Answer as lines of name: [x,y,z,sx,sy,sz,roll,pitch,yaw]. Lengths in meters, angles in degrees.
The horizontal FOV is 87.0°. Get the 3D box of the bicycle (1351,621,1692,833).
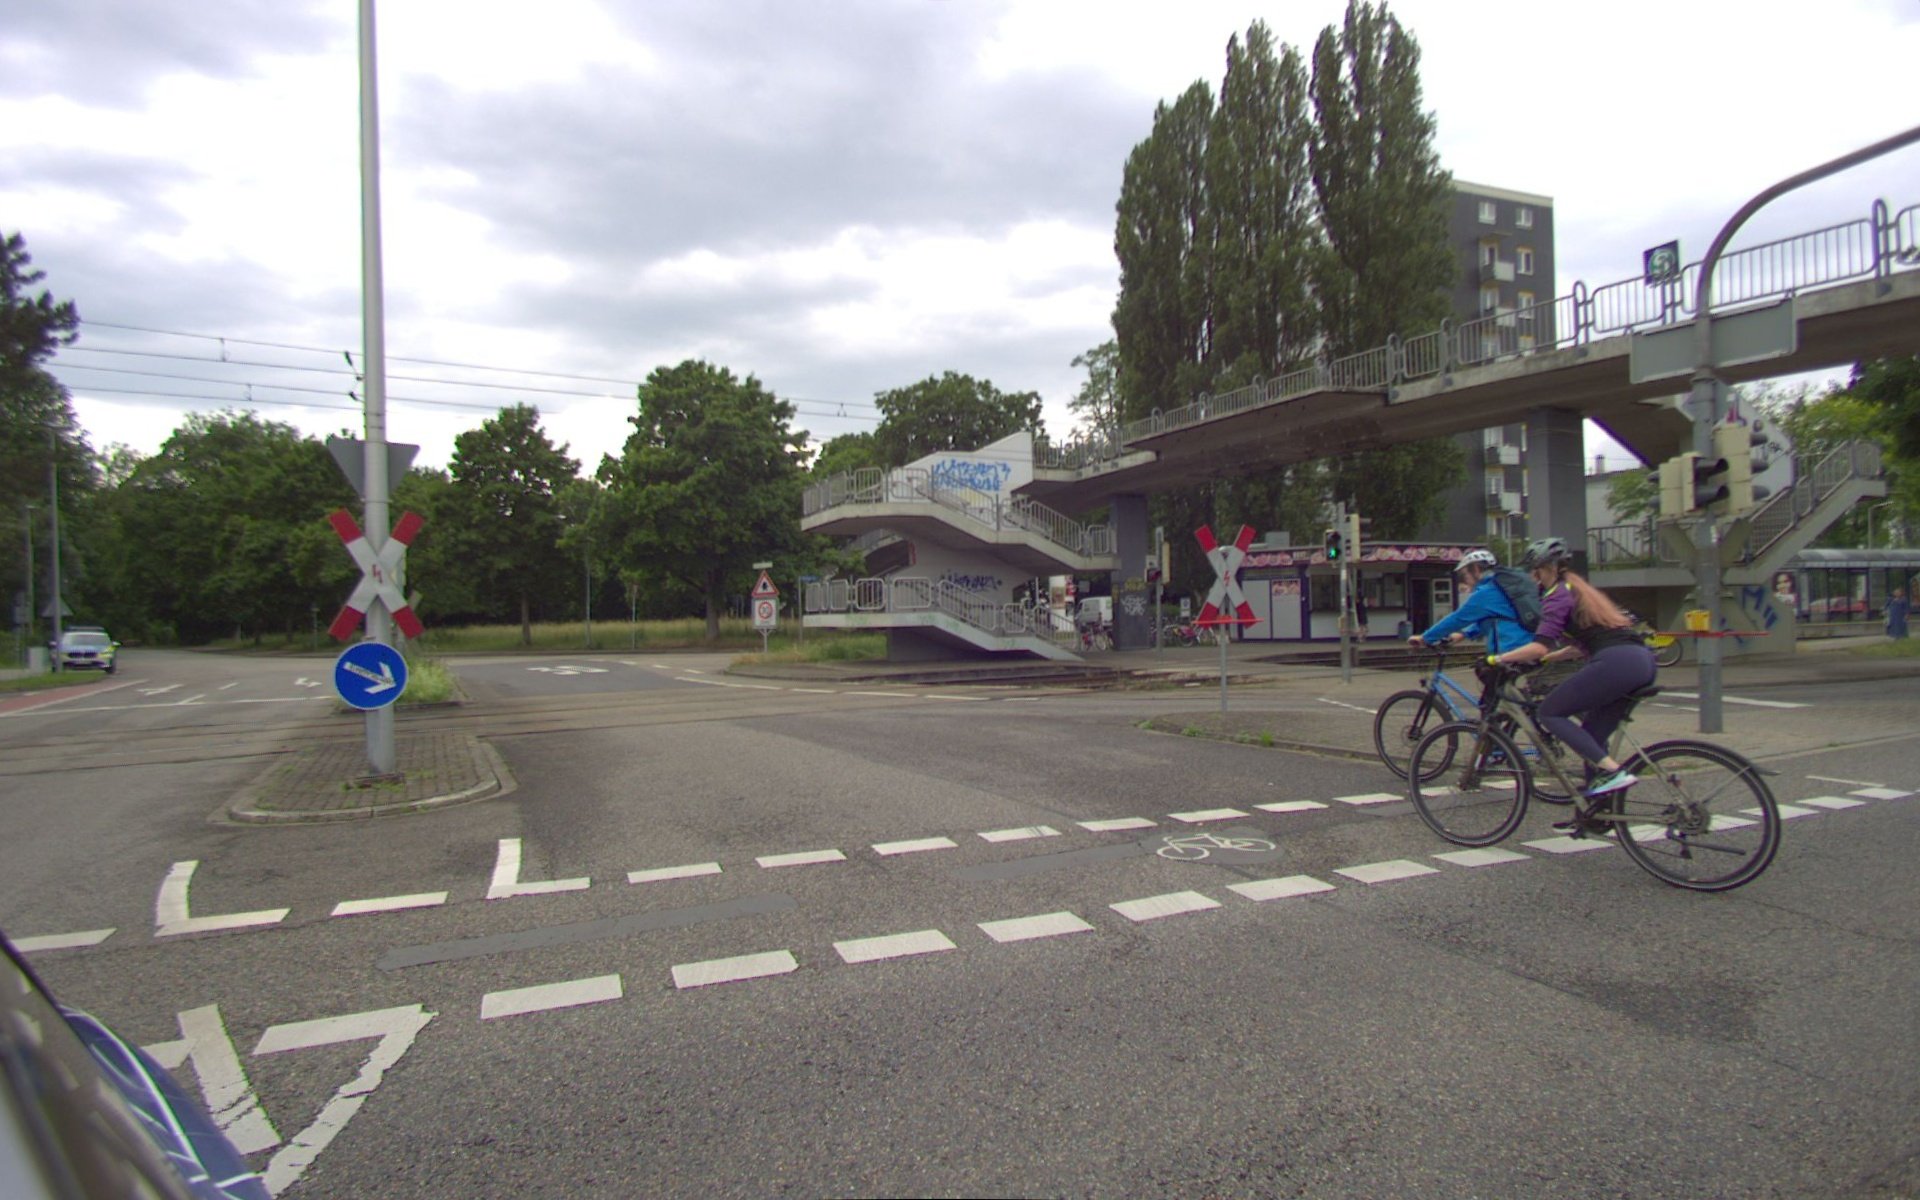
bicycle: [3.871,0.803,7.219,0.535,1.277,2.117,-1,-1,-30]

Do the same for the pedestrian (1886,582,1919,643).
pedestrian: [24.646,0.324,26.439,0.329,1.576,0.562,-1,-1,-29]

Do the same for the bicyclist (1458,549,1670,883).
bicyclist: [3.172,0.558,5.342,0.669,1.606,0.697,-1,0,-30]

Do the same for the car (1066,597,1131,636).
car: [8.900,1.040,65.620,2.104,2.309,5.223,-2,1,-17]

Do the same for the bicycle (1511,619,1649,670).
bicycle: [11.881,0.836,19.416,2.369,0.895,0.558,-1,-1,-6]

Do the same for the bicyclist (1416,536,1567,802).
bicyclist: [3.794,0.461,7.243,0.635,1.782,0.649,-2,-1,-29]

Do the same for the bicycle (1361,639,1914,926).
bicycle: [3.292,0.781,5.250,0.716,1.109,2.271,-1,-1,-30]

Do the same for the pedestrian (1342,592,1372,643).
pedestrian: [13.280,0.597,33.880,0.674,1.677,0.544,-1,-2,-24]

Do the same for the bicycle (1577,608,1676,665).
bicycle: [13.189,0.722,20.061,1.611,1.103,0.347,-2,-1,34]

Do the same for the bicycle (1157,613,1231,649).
bicycle: [7.907,1.034,34.054,2.746,1.123,0.994,-1,-2,-42]

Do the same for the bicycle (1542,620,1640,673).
bicycle: [12.064,0.874,19.329,2.002,0.928,0.375,-1,0,-19]

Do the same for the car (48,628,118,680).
car: [-33.805,2.044,38.974,1.907,1.864,4.005,2,-3,-42]

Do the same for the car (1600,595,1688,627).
car: [34.964,0.560,51.740,3.931,1.572,1.674,-1,-1,-19]
